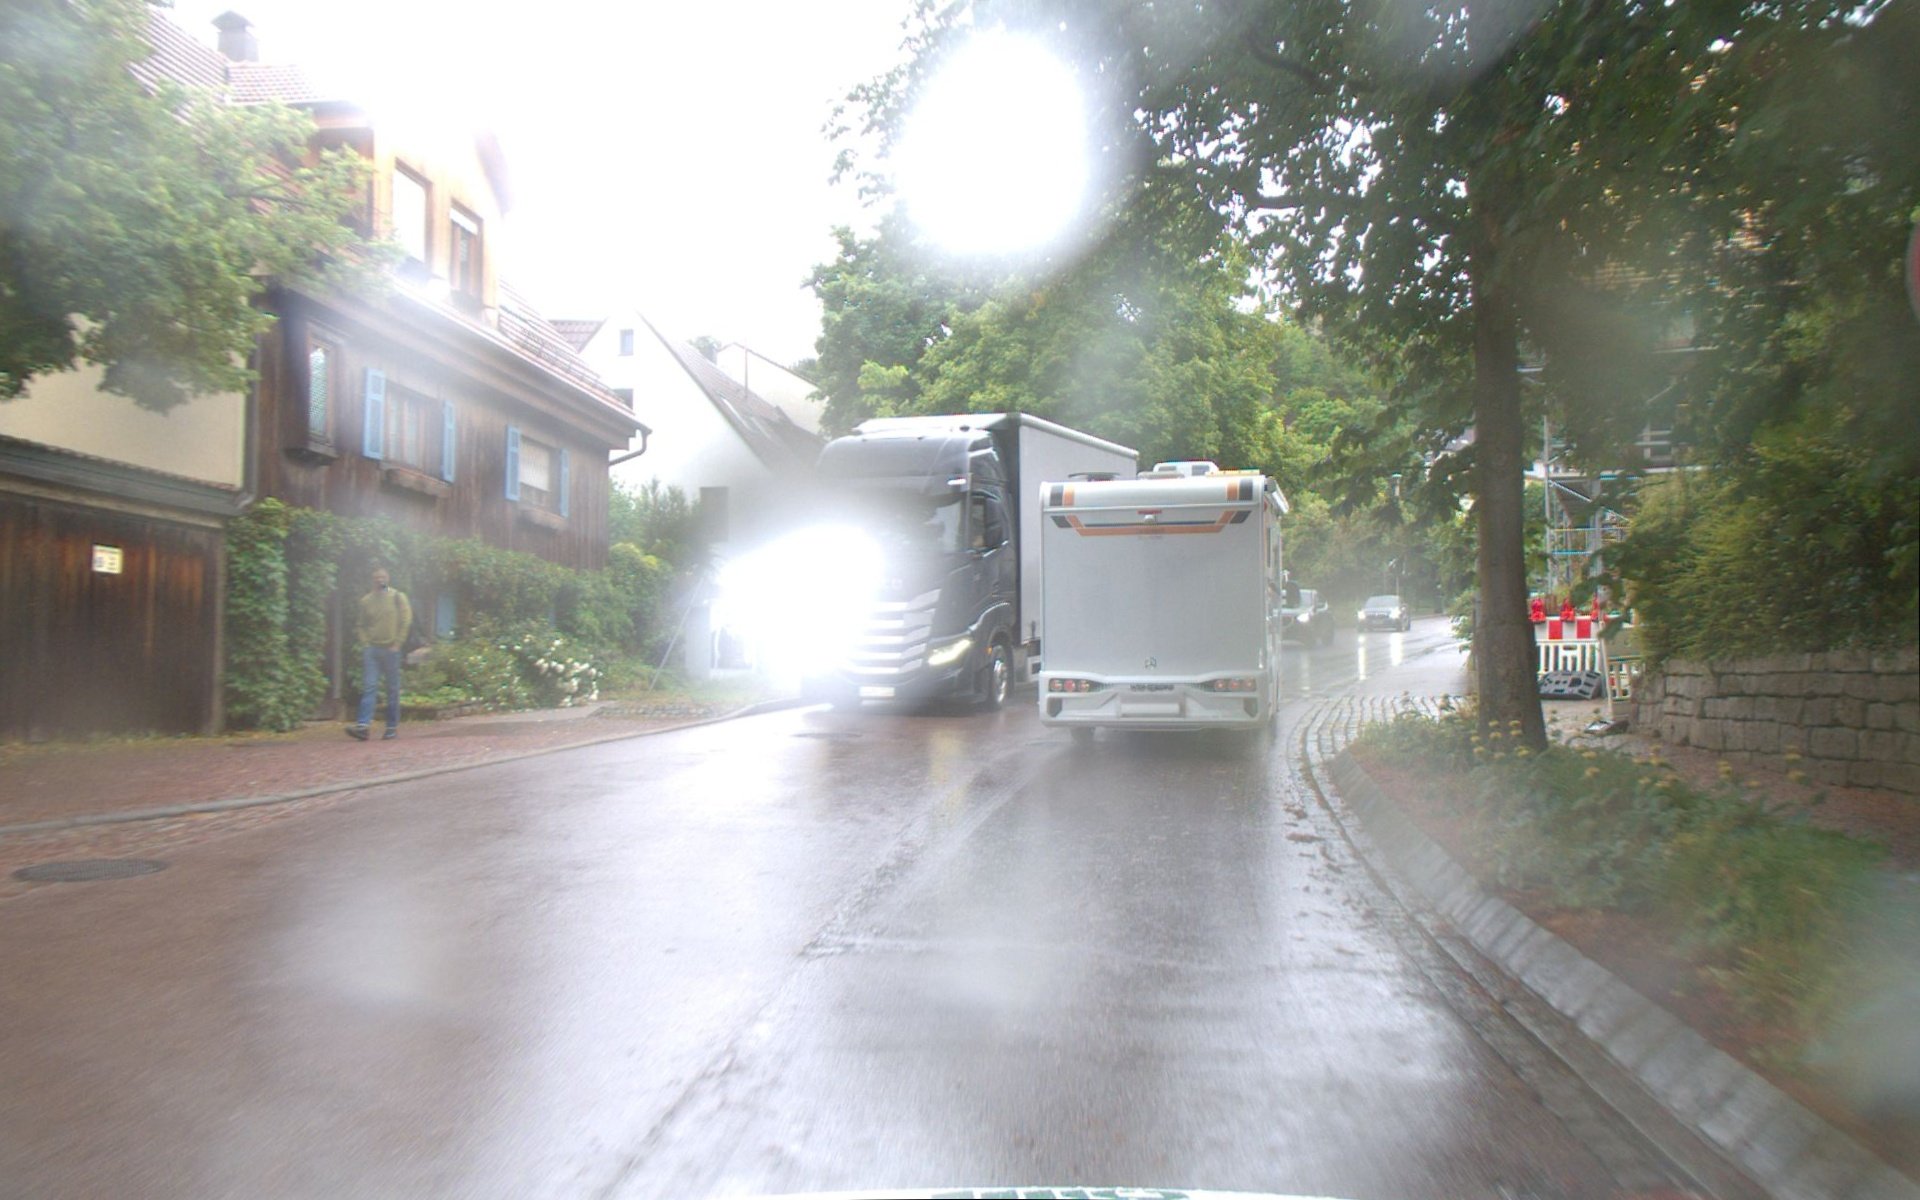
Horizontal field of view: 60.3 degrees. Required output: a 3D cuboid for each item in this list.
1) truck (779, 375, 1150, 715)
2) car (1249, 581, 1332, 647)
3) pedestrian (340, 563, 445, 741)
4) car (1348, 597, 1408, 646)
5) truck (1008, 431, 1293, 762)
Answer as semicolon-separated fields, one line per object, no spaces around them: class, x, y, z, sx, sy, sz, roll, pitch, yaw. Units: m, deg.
truck;0.552;-0.684;25.808;2.778;4.239;9.980;0;0;19
car;9.863;0.423;49.118;1.797;1.882;4.000;0;-1;20
pedestrian;-6.192;0.560;18.081;0.777;1.901;0.916;0;-1;4
car;17.169;0.883;67.858;1.952;1.928;4.000;0;-1;20
truck;2.363;0.007;18.494;2.637;3.038;6.241;0;-1;11
